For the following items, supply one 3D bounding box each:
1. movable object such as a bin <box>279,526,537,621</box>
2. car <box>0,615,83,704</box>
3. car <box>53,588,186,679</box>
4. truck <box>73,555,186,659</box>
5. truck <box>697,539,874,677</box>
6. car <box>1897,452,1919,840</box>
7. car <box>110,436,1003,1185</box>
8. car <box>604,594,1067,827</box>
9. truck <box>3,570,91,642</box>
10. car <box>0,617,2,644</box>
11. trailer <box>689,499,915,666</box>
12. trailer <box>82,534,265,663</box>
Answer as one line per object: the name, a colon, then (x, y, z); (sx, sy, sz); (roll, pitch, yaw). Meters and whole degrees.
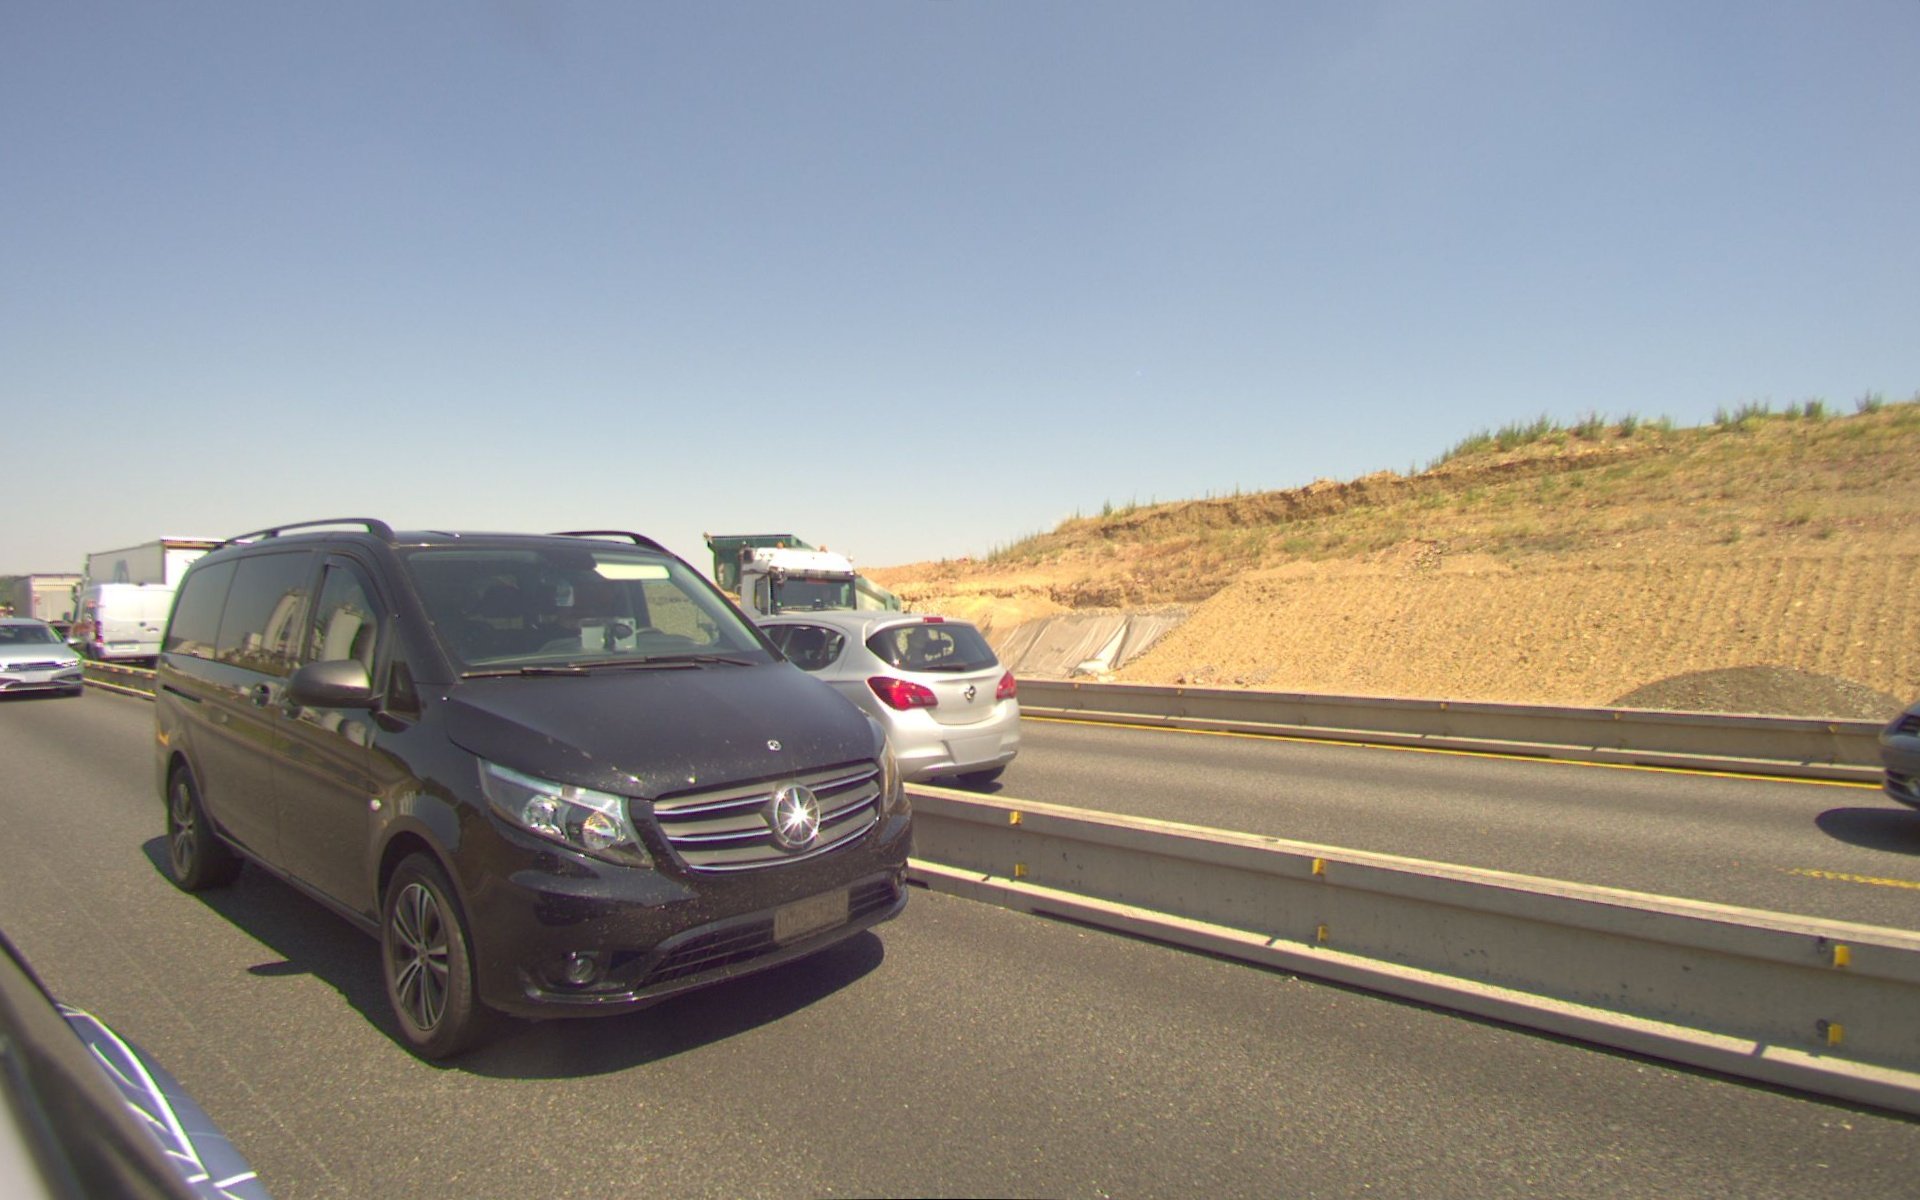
movable object such as a bin: (-43.372, -2.022, 80.832); (3.387, 6.823, 18.033); (-1, 0, 41)
car: (-18.011, 1.088, 18.987); (4.098, 1.519, 1.781); (-2, -1, 41)
car: (-23.505, 0.856, 28.215); (5.340, 2.309, 1.973); (-1, 0, 41)
truck: (-34.569, 0.297, 42.087); (4.857, 4.049, 2.819); (-1, -2, 41)
truck: (-4.379, 0.160, 24.662); (2.543, 2.986, 5.077); (-1, 0, -31)
car: (7.810, 0.265, 4.785); (4.863, 2.171, 1.972); (-1, -2, 41)
car: (-2.505, 0.563, 5.044); (5.476, 1.865, 1.854); (-1, 0, 41)
car: (-1.207, 0.736, 8.582); (3.974, 1.513, 1.671); (-1, 0, 41)
truck: (-51.432, 0.346, 56.909); (9.478, 3.744, 2.617); (-1, 0, 41)
car: (-54.890, 1.691, 56.242); (4.496, 1.453, 1.839); (-1, 0, 39)
trailer: (-4.188, -0.446, 29.323); (2.779, 4.129, 8.313); (-1, 0, 20)
trailer: (-29.700, 0.024, 37.821); (13.646, 4.125, 2.824); (-1, -1, 41)
